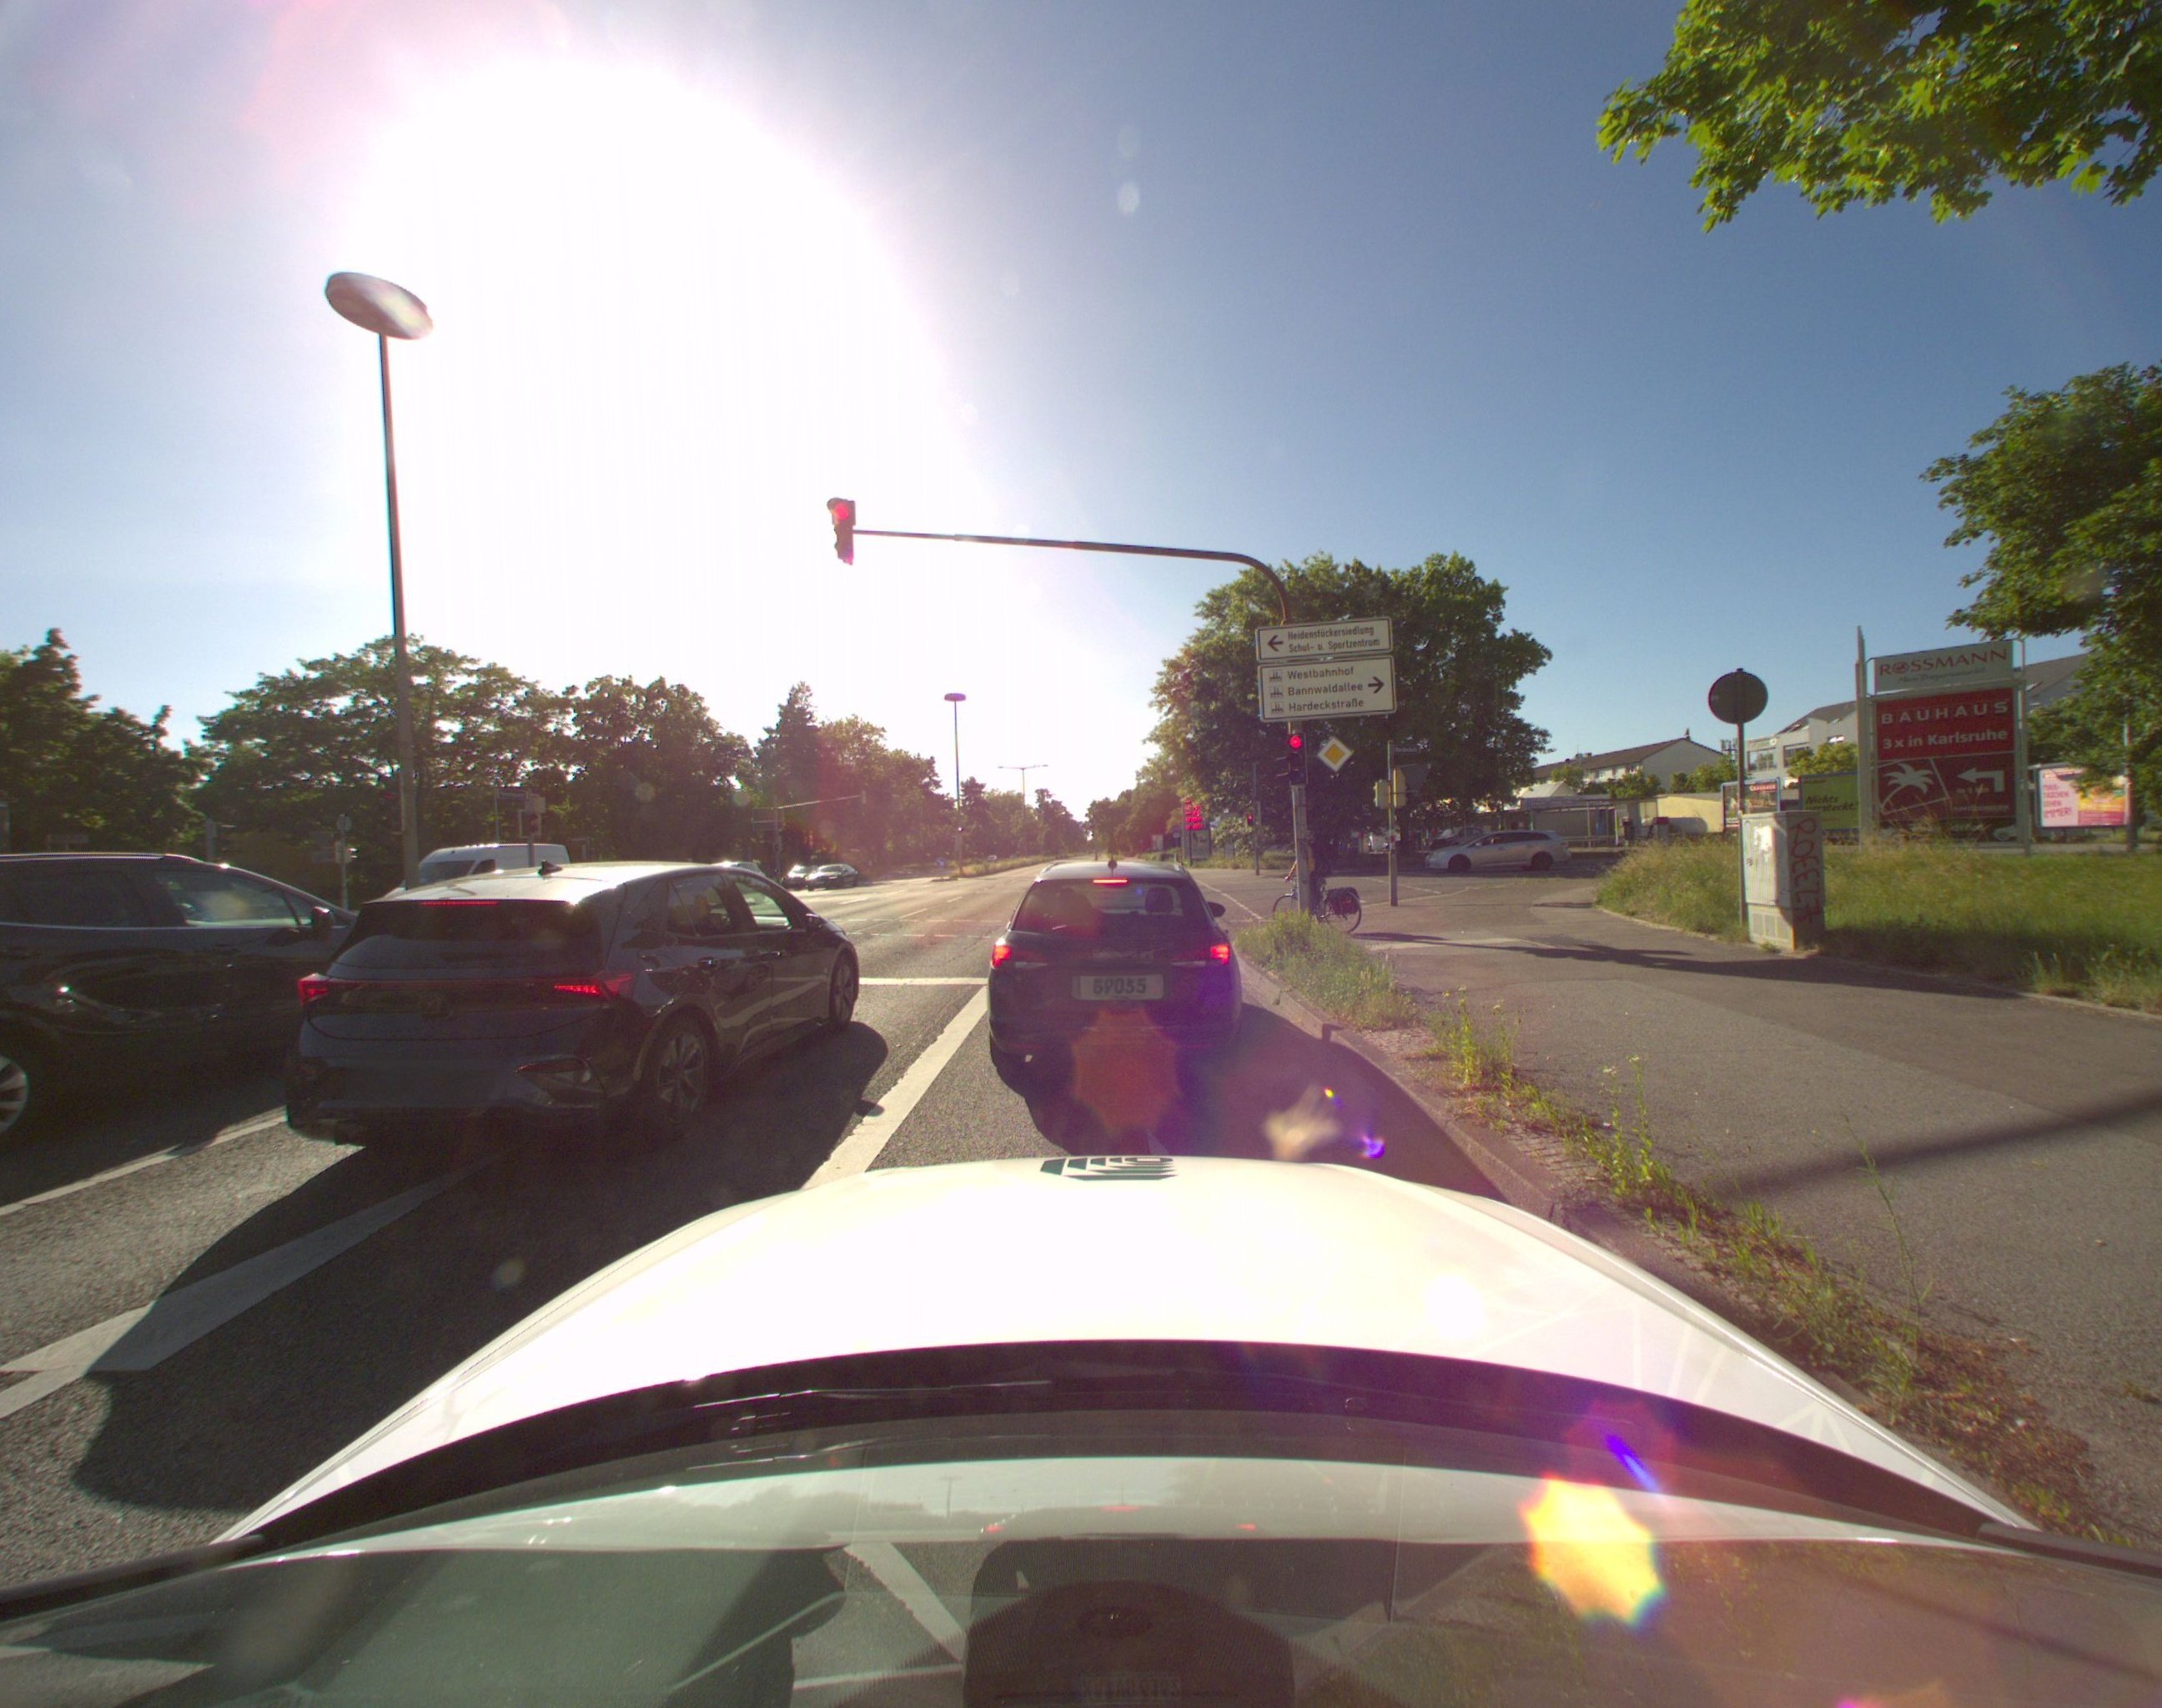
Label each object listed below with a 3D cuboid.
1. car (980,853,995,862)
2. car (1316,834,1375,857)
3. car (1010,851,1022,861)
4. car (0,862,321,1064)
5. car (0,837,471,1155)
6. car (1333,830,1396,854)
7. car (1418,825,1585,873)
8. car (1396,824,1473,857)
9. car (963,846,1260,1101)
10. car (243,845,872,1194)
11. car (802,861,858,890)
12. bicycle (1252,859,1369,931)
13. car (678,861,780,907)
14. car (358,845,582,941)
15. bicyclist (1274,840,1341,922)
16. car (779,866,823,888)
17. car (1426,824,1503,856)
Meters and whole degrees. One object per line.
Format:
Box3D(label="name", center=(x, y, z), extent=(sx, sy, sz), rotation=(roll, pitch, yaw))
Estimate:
Box3D(label="car", center=(-16.241, 0.634, 142.286), extent=(1.986, 1.530, 4.001), rotation=(-3, 0, 1))
Box3D(label="car", center=(19.327, -0.620, 59.525), extent=(3.903, 1.517, 1.733), rotation=(-3, 0, -21))
Box3D(label="car", center=(-14.095, 0.516, 176.102), extent=(1.986, 2.013, 4.001), rotation=(-3, 0, 1))
Box3D(label="car", center=(-10.225, 0.990, 7.922), extent=(1.824, 1.702, 3.999), rotation=(-3, 0, 0))
Box3D(label="car", center=(-6.622, 0.790, 5.519), extent=(1.798, 1.689, 4.002), rotation=(-3, 0, 2))
Box3D(label="car", center=(19.661, -0.827, 56.433), extent=(3.903, 1.517, 1.733), rotation=(-3, 0, -21))
Box3D(label="car", center=(14.962, -0.168, 29.293), extent=(4.969, 1.486, 2.007), rotation=(-2, 0, 13))
Box3D(label="car", center=(21.409, -0.825, 49.380), extent=(4.003, 1.749, 1.985), rotation=(-3, 1, -22))
Box3D(label="car", center=(0.247, 0.727, 6.965), extent=(1.750, 1.495, 4.208), rotation=(-1, 0, 2))
Box3D(label="car", center=(-2.961, 0.774, 5.856), extent=(1.678, 1.580, 4.208), rotation=(-1, 0, 2))
Box3D(label="car", center=(-14.247, 1.196, 46.469), extent=(1.769, 1.463, 4.166), rotation=(-3, 0, 2))
Box3D(label="bicycle", center=(3.730, 0.688, 13.372), extent=(0.541, 1.097, 1.755), rotation=(-3, -2, -42))
Box3D(label="car", center=(-14.272, 1.184, 33.393), extent=(1.986, 1.601, 4.617), rotation=(-3, 0, 2))
Box3D(label="car", center=(-18.321, 1.045, 24.965), extent=(2.092, 2.492, 6.006), rotation=(-3, 0, 2))
Box3D(label="bicyclist", center=(3.715, 0.447, 13.374), extent=(0.541, 1.277, 0.819), rotation=(-3, -2, -42))
Box3D(label="car", center=(-17.701, 1.423, 51.608), extent=(1.384, 1.235, 3.637), rotation=(-3, 0, 2))
Box3D(label="car", center=(22.376, -0.818, 47.525), extent=(4.002, 1.680, 1.733), rotation=(-3, 0, -21))
